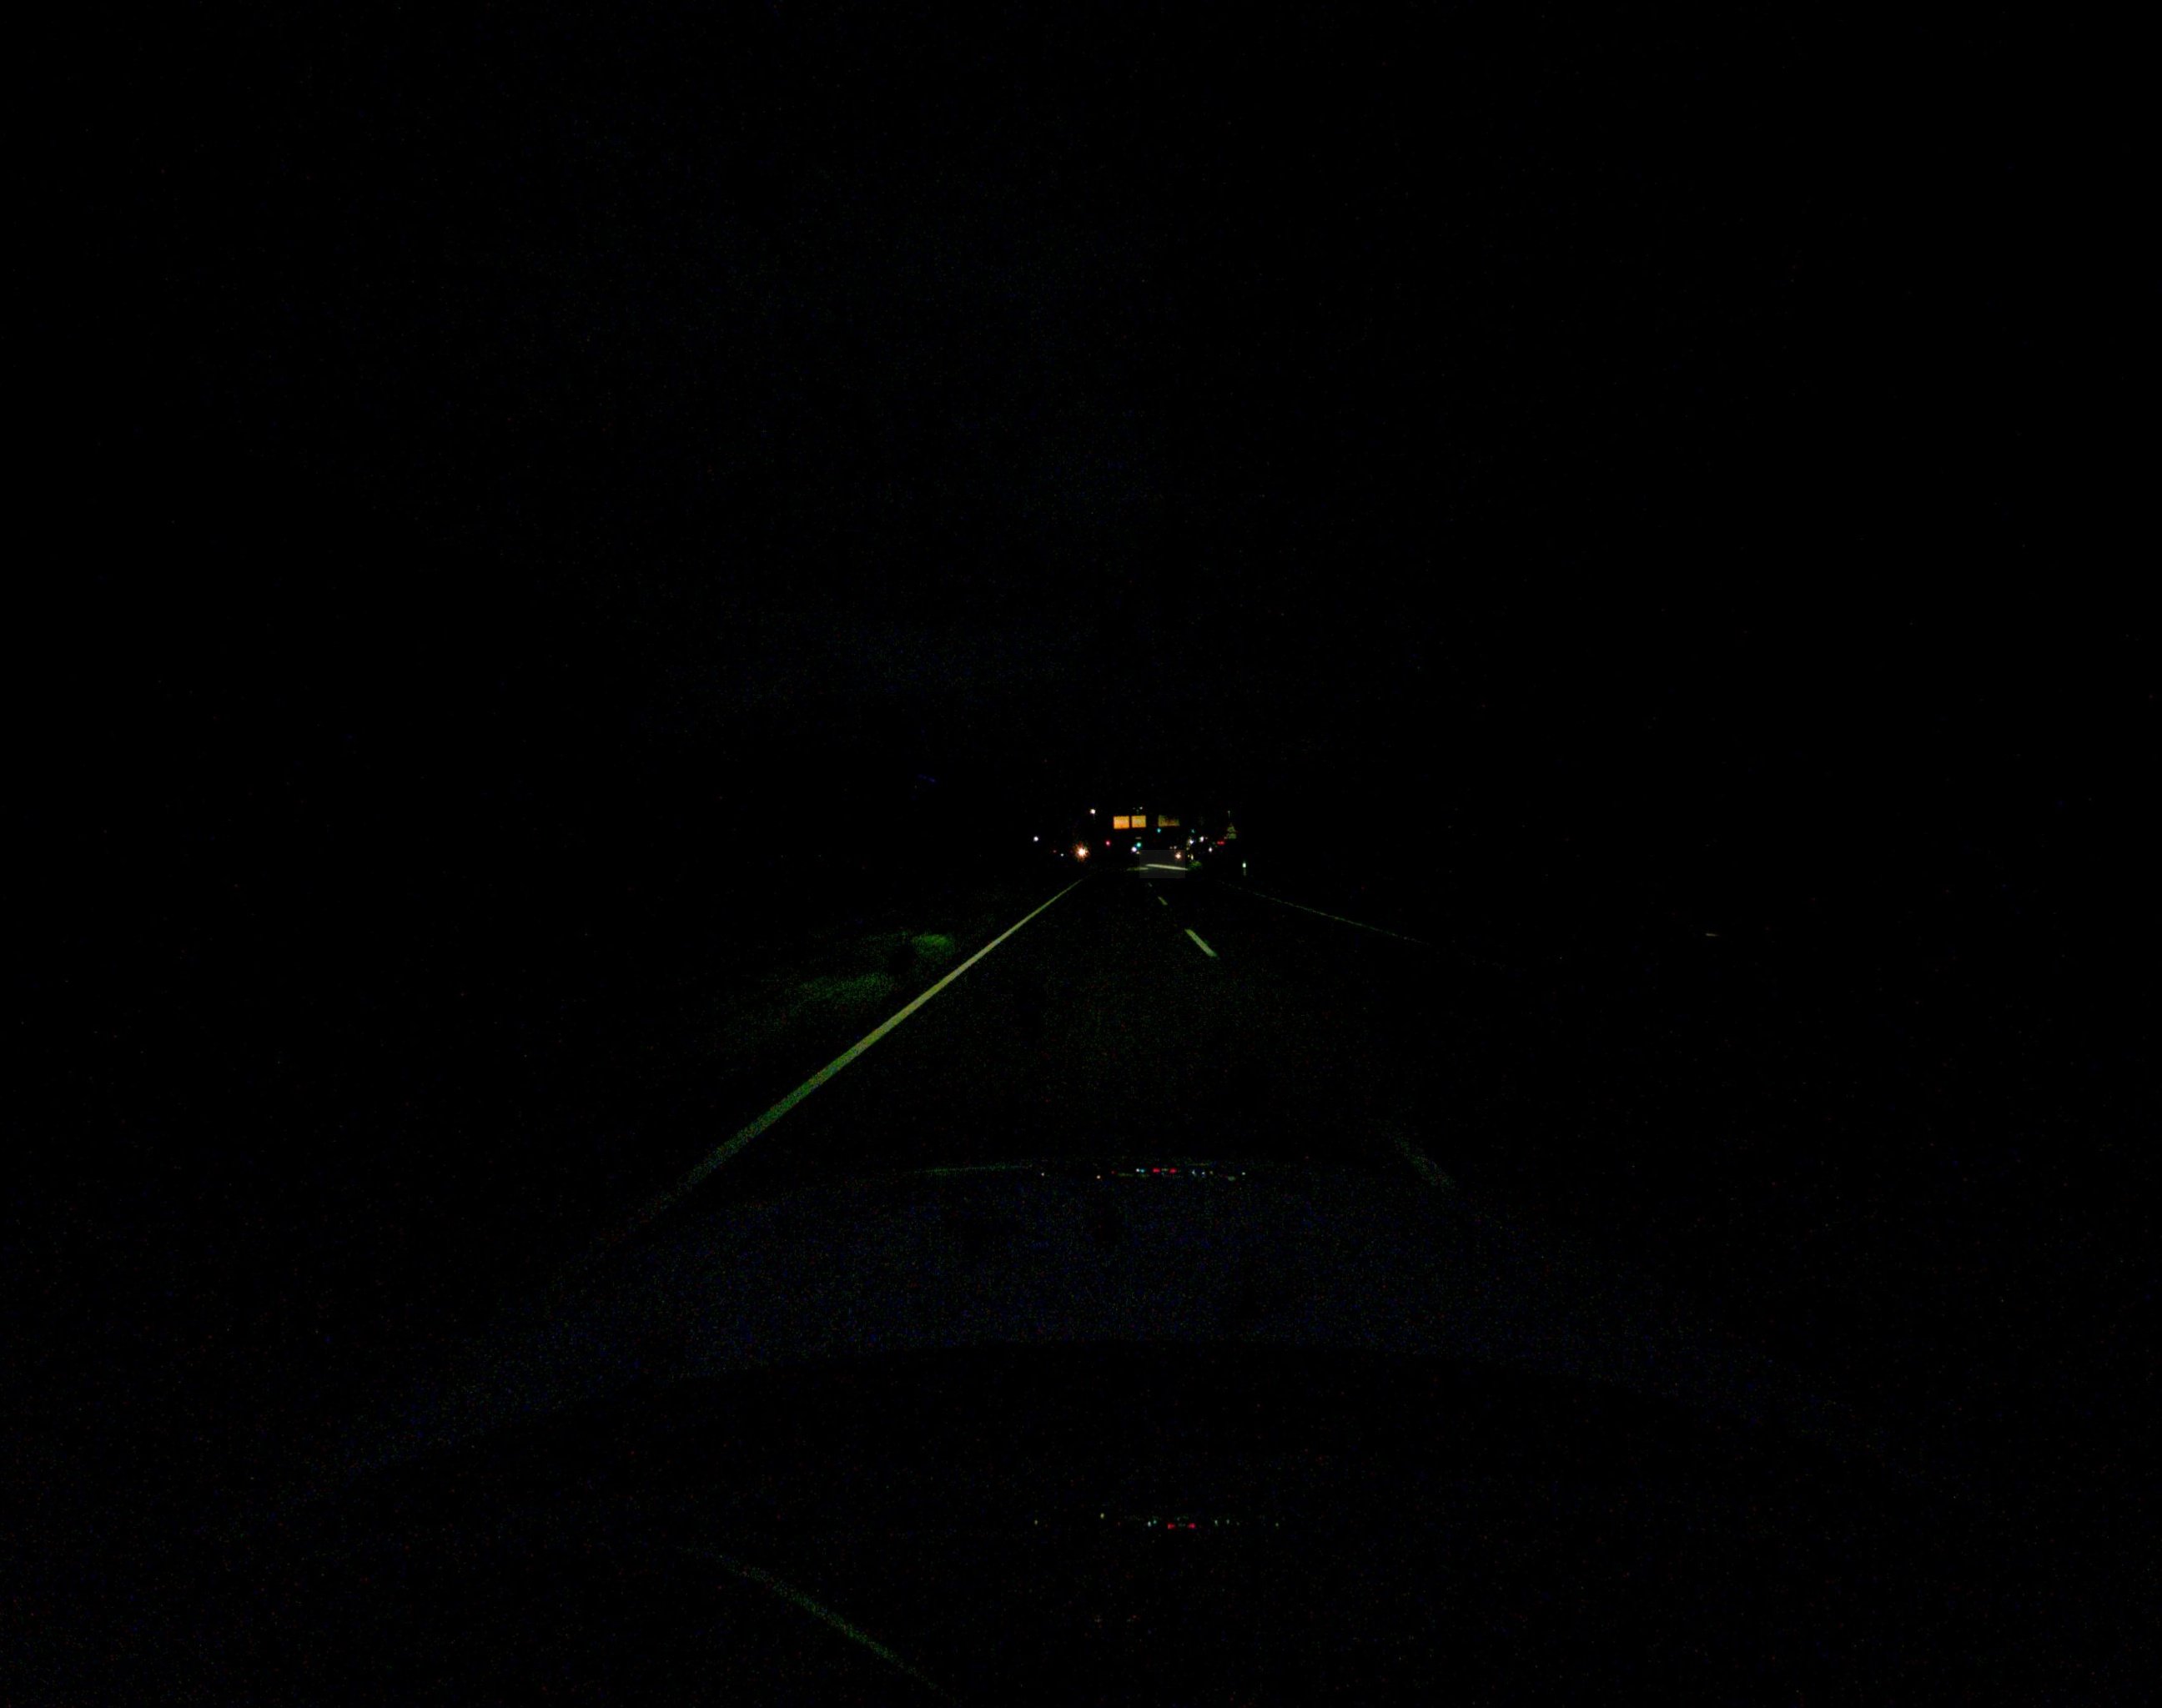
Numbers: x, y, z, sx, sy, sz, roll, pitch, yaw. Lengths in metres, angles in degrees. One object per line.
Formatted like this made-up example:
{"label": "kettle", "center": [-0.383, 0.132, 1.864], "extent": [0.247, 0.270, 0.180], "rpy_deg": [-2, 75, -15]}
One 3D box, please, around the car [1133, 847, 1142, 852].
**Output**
{"label": "car", "center": [16.399, -1.302, 237.713], "extent": [1.980, 1.425, 4.549], "rpy_deg": [-1, 1, 13]}

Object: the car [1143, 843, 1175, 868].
{"label": "car", "center": [5.360, 0.097, 56.510], "extent": [2.000, 1.611, 3.847], "rpy_deg": [-1, 0, 2]}
